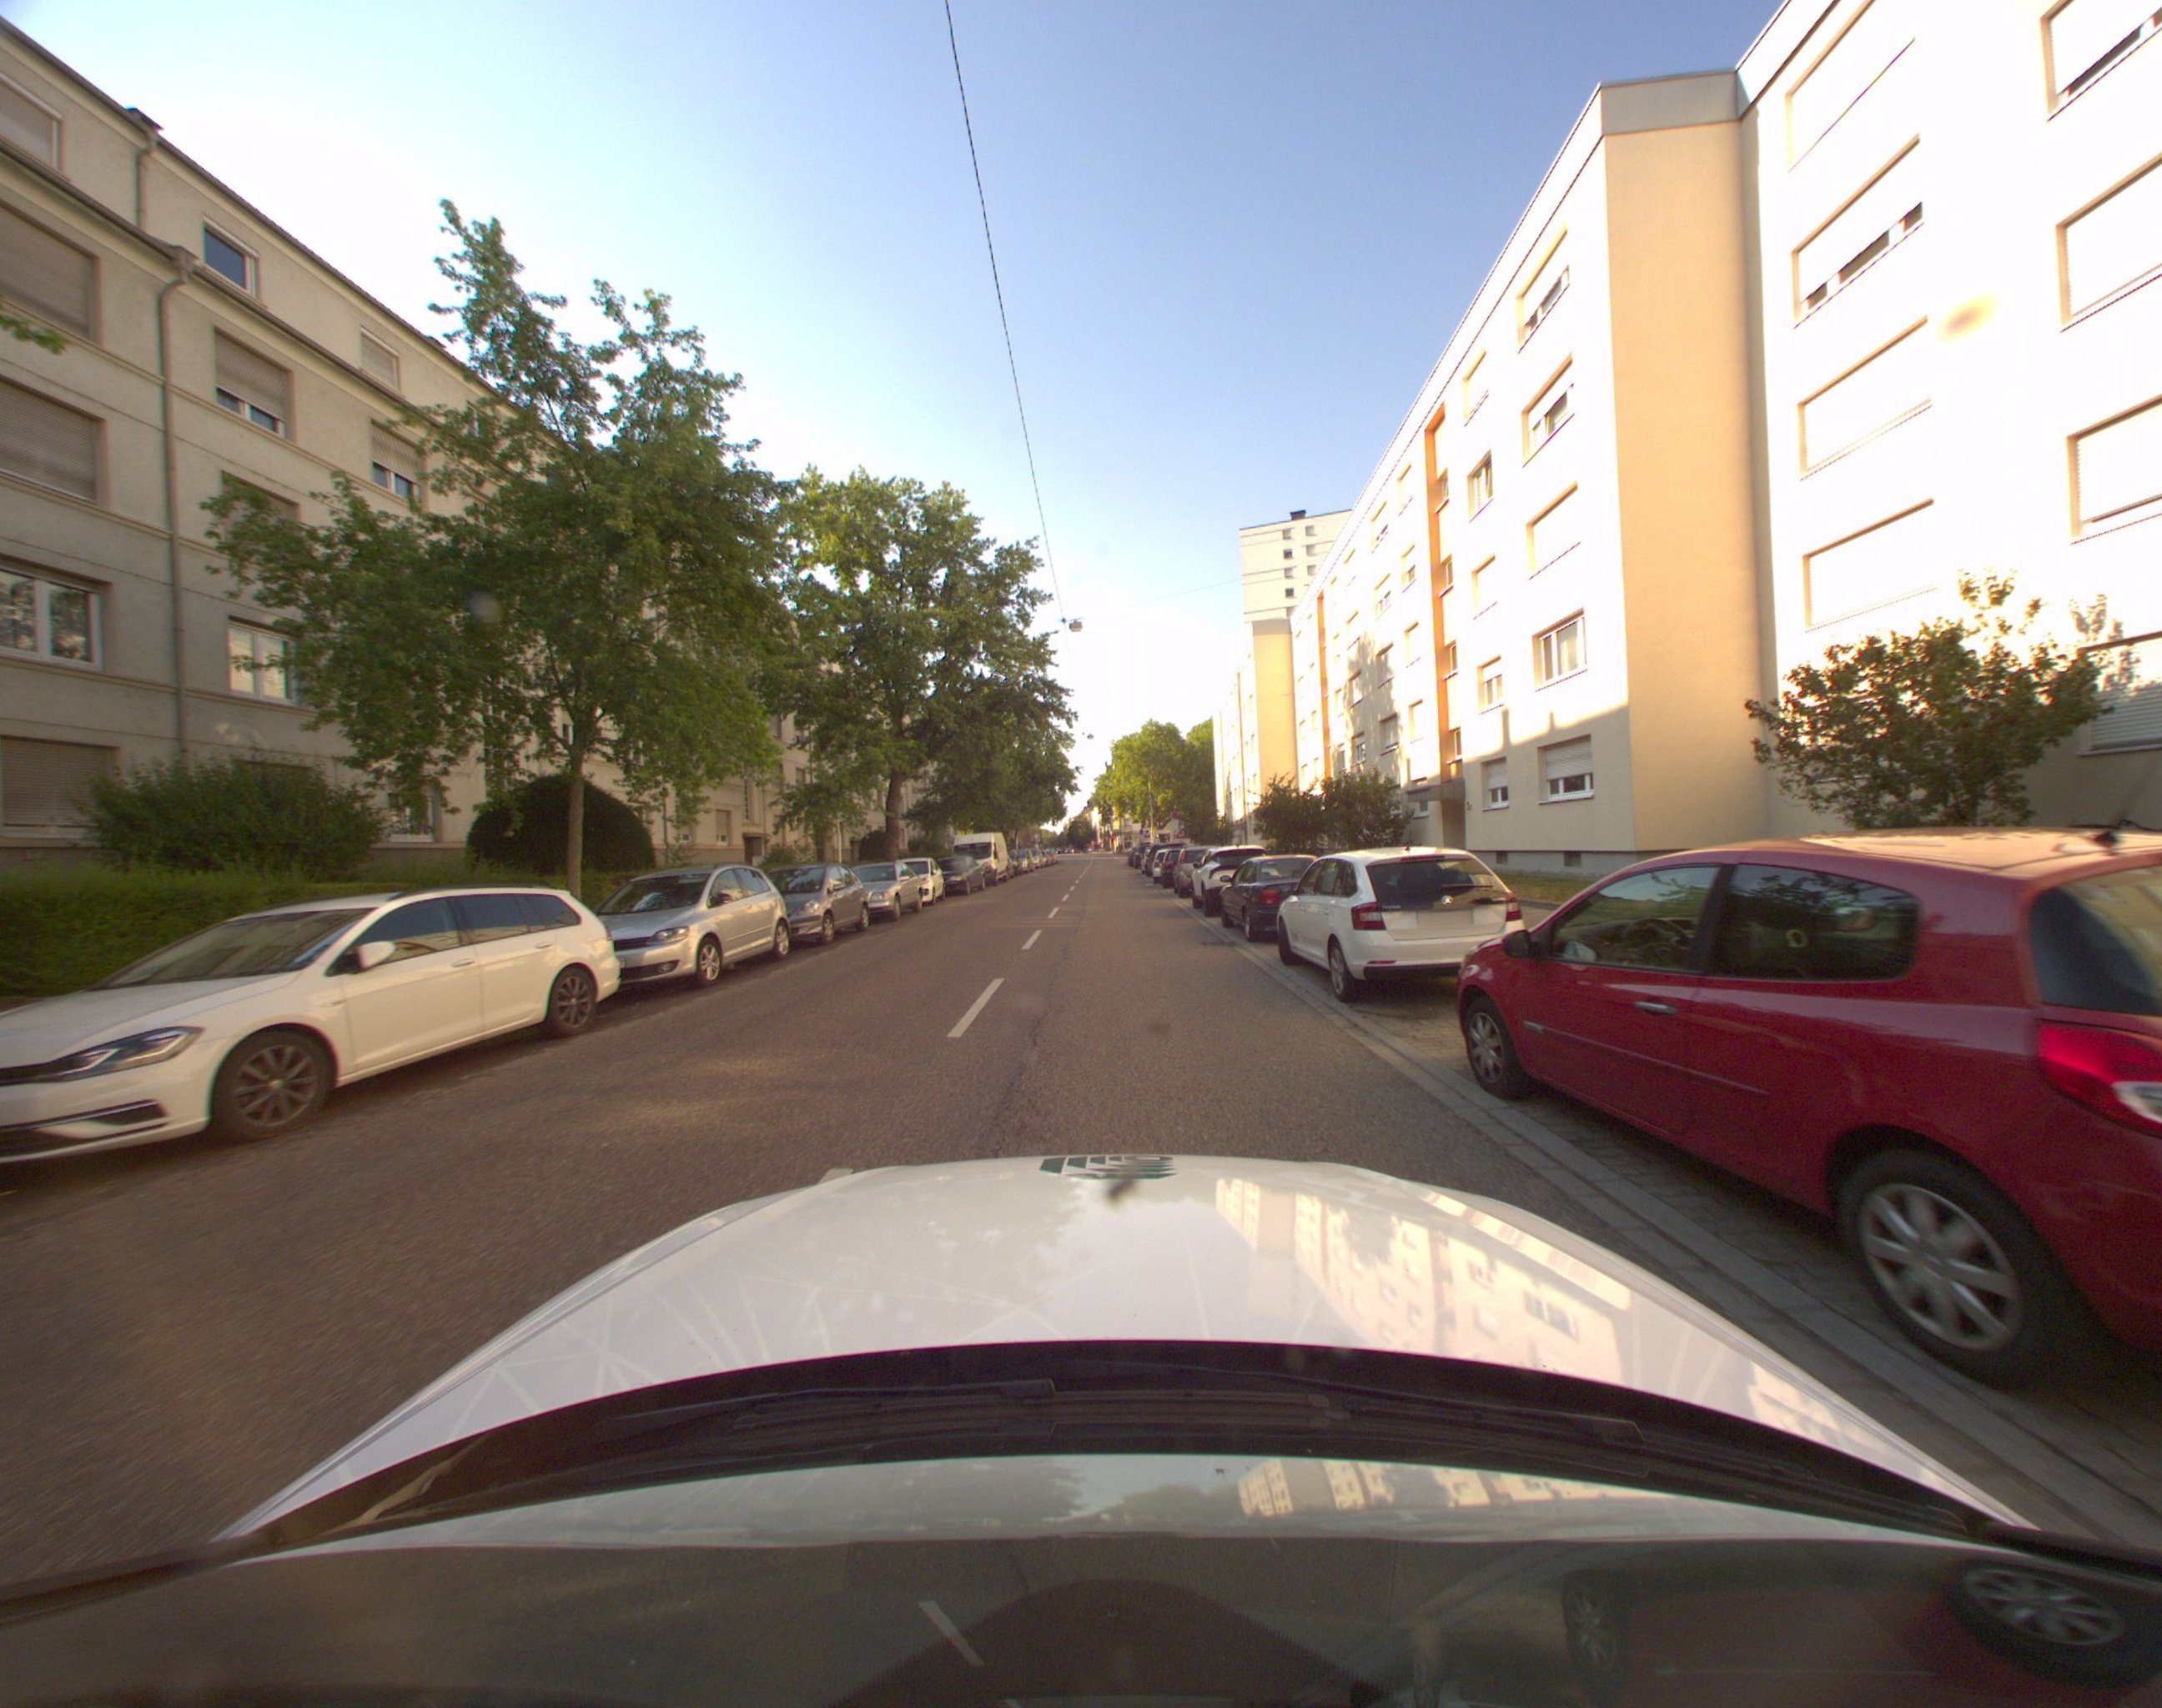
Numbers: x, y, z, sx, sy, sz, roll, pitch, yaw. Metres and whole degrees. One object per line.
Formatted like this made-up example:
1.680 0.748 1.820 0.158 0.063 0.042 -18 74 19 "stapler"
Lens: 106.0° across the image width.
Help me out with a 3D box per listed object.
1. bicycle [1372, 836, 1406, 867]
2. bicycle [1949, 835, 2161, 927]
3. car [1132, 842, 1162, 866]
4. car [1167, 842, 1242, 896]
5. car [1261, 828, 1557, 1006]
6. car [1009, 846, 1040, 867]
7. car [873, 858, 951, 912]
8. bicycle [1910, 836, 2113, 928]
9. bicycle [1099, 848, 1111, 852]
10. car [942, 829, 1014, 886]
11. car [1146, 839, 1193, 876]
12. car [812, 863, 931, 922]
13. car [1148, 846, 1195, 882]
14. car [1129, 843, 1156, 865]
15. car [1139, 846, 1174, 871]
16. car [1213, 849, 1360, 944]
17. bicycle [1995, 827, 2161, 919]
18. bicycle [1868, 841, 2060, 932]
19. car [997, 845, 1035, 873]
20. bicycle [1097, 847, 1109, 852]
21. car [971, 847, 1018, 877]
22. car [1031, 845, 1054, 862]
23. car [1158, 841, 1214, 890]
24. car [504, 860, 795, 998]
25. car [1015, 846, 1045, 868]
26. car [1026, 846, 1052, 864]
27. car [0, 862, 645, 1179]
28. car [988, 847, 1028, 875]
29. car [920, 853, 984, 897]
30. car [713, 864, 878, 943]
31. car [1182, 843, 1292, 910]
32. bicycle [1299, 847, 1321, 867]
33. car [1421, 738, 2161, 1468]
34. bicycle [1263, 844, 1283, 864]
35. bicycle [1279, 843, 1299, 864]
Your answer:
11.804 -0.078 31.292 0.491 1.113 2.397 -6 -1 5 "bicycle"
10.972 0.288 9.272 0.435 0.942 1.794 0 -1 7 "bicycle"
4.808 0.008 59.600 1.891 1.651 4.344 -2 0 1 "car"
3.922 0.473 26.541 1.955 1.605 4.281 0 -1 2 "car"
3.364 0.584 9.278 1.765 1.453 4.001 -5 -1 2 "car"
-4.164 0.207 60.712 1.864 1.558 4.102 0 -1 1 "car"
-5.280 0.932 25.821 1.701 1.574 3.262 -1 -1 2 "car"
10.515 0.299 9.301 0.435 0.942 1.794 0 -1 7 "bicycle"
5.946 -1.004 203.261 2.799 1.203 0.509 0 -1 -6 "bicycle"
-4.695 0.168 38.116 2.349 2.445 6.167 0 -1 2 "car"
4.453 0.188 41.516 2.017 1.750 4.768 0 -1 1 "car"
-5.244 0.911 21.064 1.867 1.355 4.652 0 -1 0 "car"
3.967 0.445 36.281 1.830 1.501 4.175 0 -1 3 "car"
4.840 0.052 64.498 1.920 1.659 4.679 0 -1 1 "car"
4.318 0.275 47.148 1.673 1.415 4.725 0 -1 1 "car"
3.471 0.672 14.530 1.655 1.438 4.314 0 -1 2 "car"
11.478 0.204 9.214 0.435 0.942 1.794 0 -1 7 "bicycle"
10.041 0.344 9.357 0.435 0.942 1.794 0 -1 7 "bicycle"
-4.260 0.282 54.483 1.864 1.558 5.058 -6 0 1 "car"
5.552 -1.223 204.950 2.799 1.203 0.516 0 -1 -6 "bicycle"
-4.583 0.443 43.772 1.950 1.558 4.347 0 -1 1 "car"
-3.544 -0.009 75.921 1.864 1.558 4.001 0 -1 1 "car"
4.009 0.433 31.559 1.830 1.772 3.980 0 -1 2 "car"
-5.594 0.877 11.244 1.867 1.552 3.999 0 -1 0 "car"
-4.080 0.284 65.745 1.909 1.677 4.975 0 -1 1 "car"
-3.626 0.102 70.641 1.864 1.558 4.498 0 -1 1 "car"
-5.668 0.881 6.303 1.996 1.552 4.474 -2 -1 2 "car"
-4.357 0.434 49.048 1.864 1.558 4.366 0 -1 1 "car"
-4.860 0.782 31.044 1.701 1.574 3.821 0 -1 2 "car"
-5.476 0.885 16.196 1.867 1.355 3.999 0 -1 0 "car"
3.612 0.514 19.572 1.867 1.442 3.999 0 -1 0 "car"
13.080 0.148 46.508 0.598 1.081 2.394 -3 1 2 "bicycle"
3.277 0.545 3.805 1.765 1.616 4.001 -2 -1 2 "car"
10.909 -0.024 46.351 0.598 1.081 2.394 -3 1 2 "bicycle"
11.819 -0.048 46.332 0.598 1.081 2.394 -3 1 2 "bicycle"
